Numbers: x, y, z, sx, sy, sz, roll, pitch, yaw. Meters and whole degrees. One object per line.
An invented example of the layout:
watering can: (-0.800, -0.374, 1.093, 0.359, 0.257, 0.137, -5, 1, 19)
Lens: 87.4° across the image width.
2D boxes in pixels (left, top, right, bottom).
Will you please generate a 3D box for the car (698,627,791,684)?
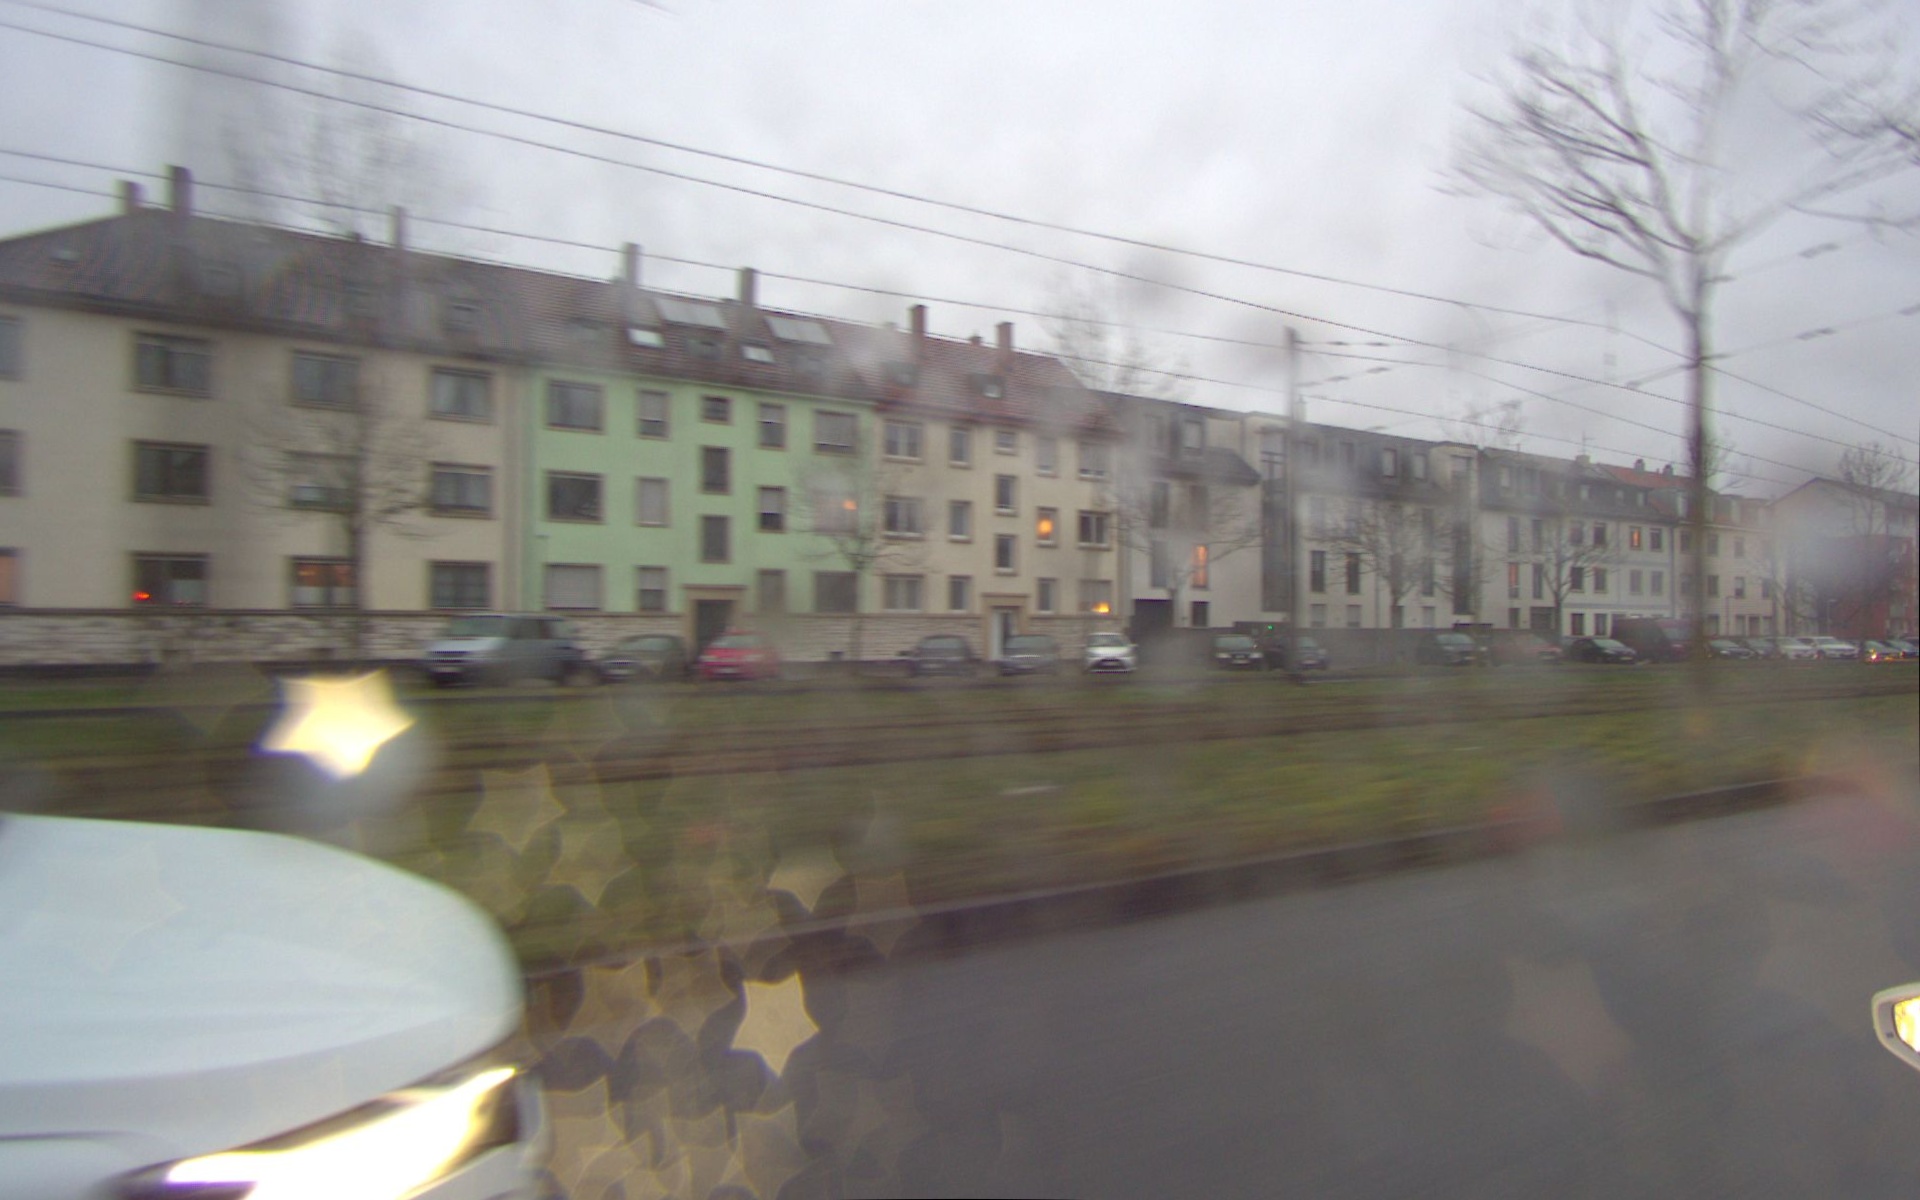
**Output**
car: (-5.906, 1.485, 27.923, 1.653, 1.326, 3.581, 1, 0, 3)

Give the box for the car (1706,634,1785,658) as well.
car: (45.720, 2.674, 58.560, 1.845, 1.216, 3.541, 1, 0, 2)

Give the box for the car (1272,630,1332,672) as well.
car: (13.325, 1.956, 39.335, 1.636, 1.441, 3.387, 1, 0, 9)

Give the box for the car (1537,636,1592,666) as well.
car: (30.166, 2.525, 50.219, 1.360, 1.320, 3.099, 1, 0, 11)

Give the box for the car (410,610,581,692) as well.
car: (-11.346, 1.159, 24.943, 1.796, 1.746, 4.660, 1, 0, 4)

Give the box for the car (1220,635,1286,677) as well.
car: (10.891, 2.067, 37.504, 1.703, 1.354, 2.937, 1, 0, 3)

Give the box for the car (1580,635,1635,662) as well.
car: (32.783, 2.444, 50.925, 1.360, 1.220, 2.890, 1, 0, 11)

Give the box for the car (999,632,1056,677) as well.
car: (2.136, 1.727, 32.364, 1.703, 1.188, 3.822, 1, 0, 3)

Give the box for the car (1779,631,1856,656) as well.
car: (54.484, 2.762, 63.903, 1.737, 1.397, 4.126, 1, 0, 7)

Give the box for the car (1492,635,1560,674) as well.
car: (26.687, 2.552, 47.486, 1.707, 1.610, 3.851, 1, 0, 11)

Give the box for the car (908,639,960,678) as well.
car: (-0.768, 1.778, 31.015, 1.408, 1.062, 2.393, 0, 0, 3)

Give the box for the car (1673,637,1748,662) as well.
car: (43.053, 2.822, 57.694, 1.713, 1.228, 3.541, 1, 0, 2)

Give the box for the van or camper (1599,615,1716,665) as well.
van or camper: (37.945, 2.108, 54.908, 1.960, 2.391, 6.884, 1, 0, 4)

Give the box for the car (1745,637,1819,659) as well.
car: (49.229, 2.854, 60.217, 1.658, 1.162, 3.419, 1, 0, 2)

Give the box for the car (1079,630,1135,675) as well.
car: (4.903, 1.720, 33.813, 1.702, 1.262, 3.845, 1, 0, 6)

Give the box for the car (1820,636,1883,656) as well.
car: (57.970, 2.982, 65.374, 1.369, 1.162, 3.045, 1, 0, 1)

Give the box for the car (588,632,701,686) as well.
car: (-8.217, 1.515, 26.454, 1.702, 1.156, 3.573, 1, 0, 3)

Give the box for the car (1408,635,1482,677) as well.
car: (21.292, 2.428, 44.267, 1.636, 1.561, 4.165, 1, 0, 6)

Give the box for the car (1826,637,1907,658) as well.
car: (60.359, 3.134, 66.962, 1.648, 1.131, 4.190, 1, 0, 1)

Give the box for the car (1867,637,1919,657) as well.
car: (66.234, 3.305, 70.806, 1.424, 1.355, 3.770, 0, -1, 6)

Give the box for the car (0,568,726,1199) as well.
car: (-2.445, 0.685, 1.085, 3.954, 1.494, 1.680, 1, 0, -31)
